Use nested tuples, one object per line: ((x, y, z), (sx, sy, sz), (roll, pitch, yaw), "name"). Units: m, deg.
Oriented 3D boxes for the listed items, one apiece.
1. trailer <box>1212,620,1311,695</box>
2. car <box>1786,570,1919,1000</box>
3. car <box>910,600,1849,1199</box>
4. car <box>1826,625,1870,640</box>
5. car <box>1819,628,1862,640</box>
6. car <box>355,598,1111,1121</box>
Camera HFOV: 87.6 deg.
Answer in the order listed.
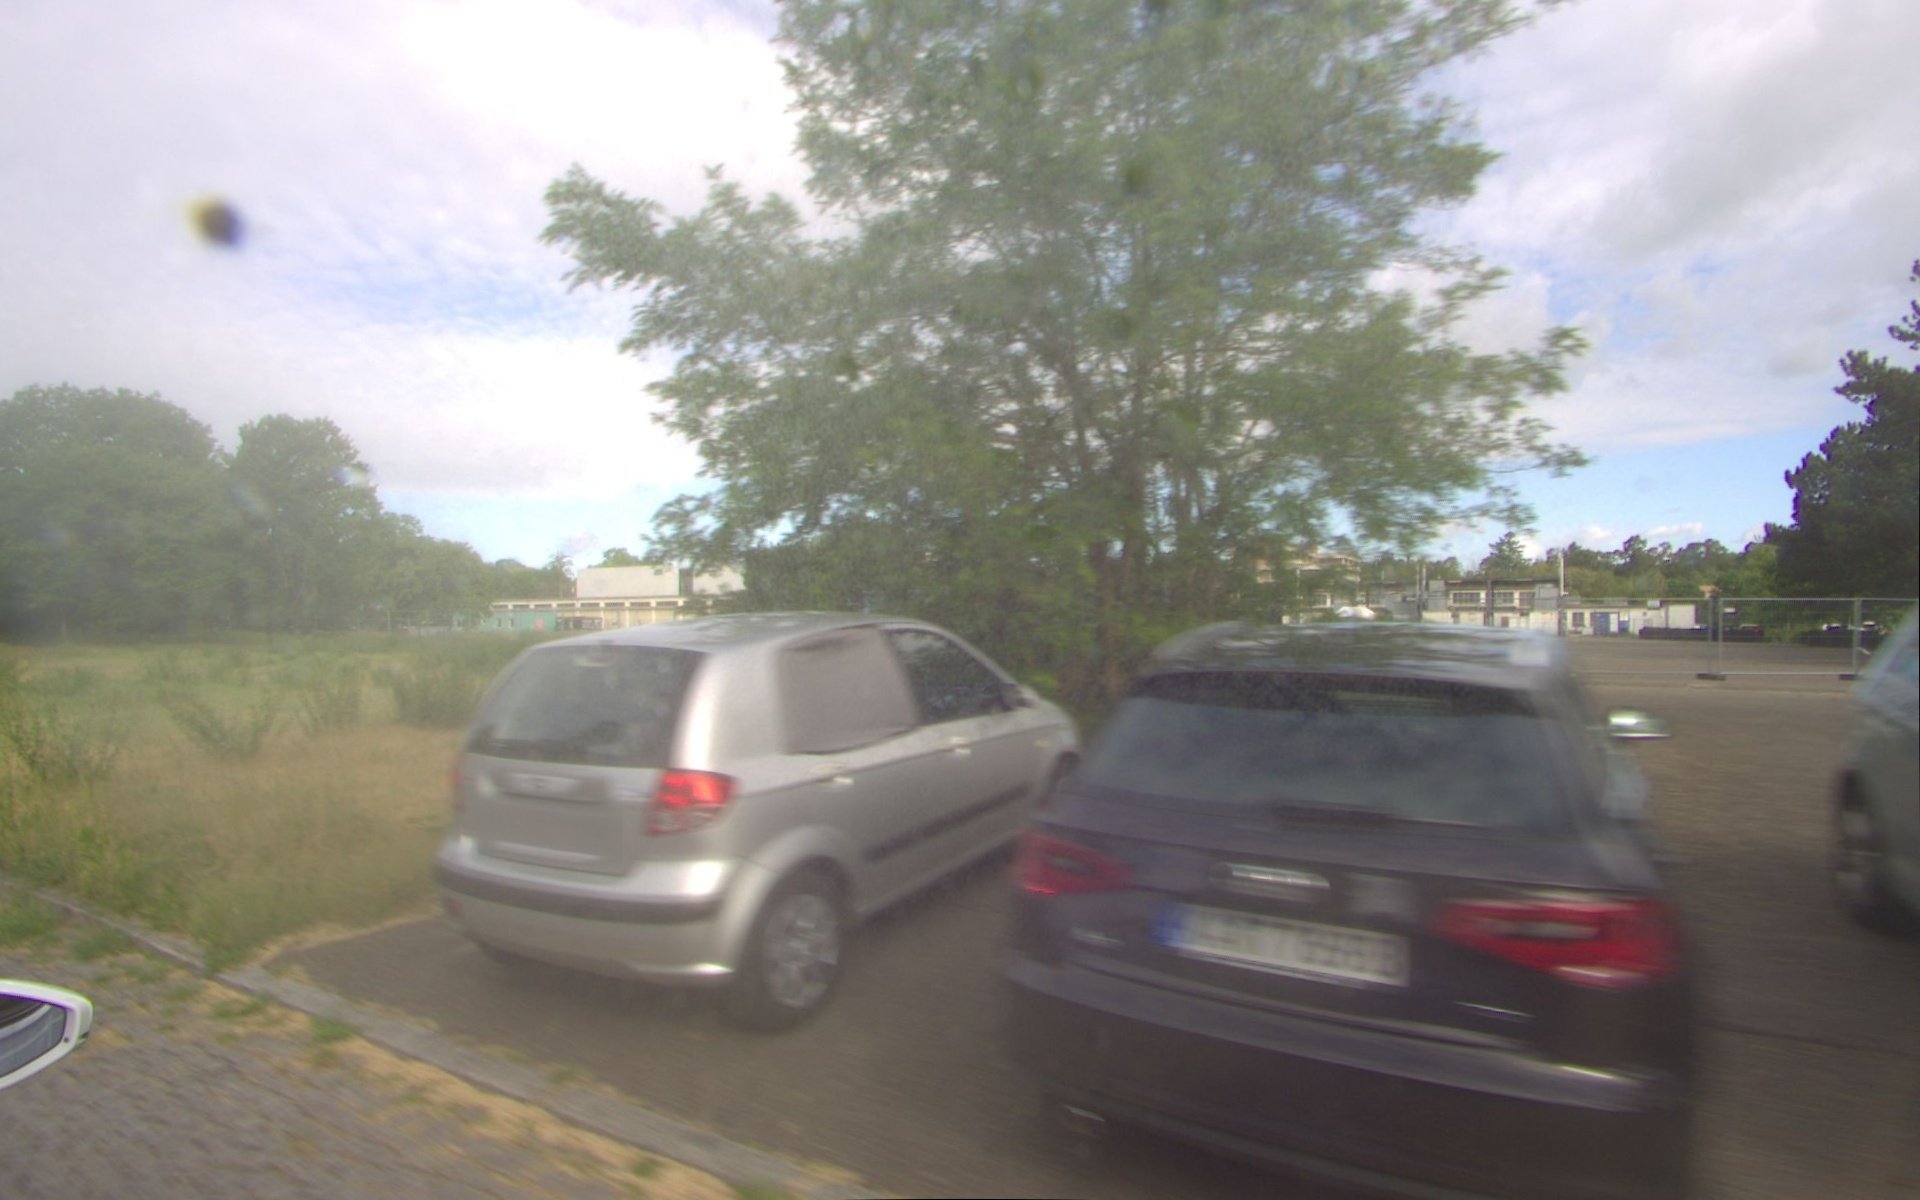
((5.201, 0.972, 17.149), (1.127, 1.185, 2.311), (-1, -2, 30), "trailer")
((4.161, 0.699, 2.872), (1.798, 1.596, 4.326), (-1, 1, 26), "car")
((1.721, 0.778, 3.953), (1.769, 1.425, 4.358), (1, 2, 30), "car")
((114.773, 4.233, 129.426), (4.026, 1.863, 1.775), (-1, -1, 34), "car")
((115.648, 4.428, 131.541), (4.025, 1.595, 1.776), (-1, -1, 34), "car")
((-0.681, 0.794, 5.126), (1.716, 1.500, 3.766), (1, 2, 28), "car")
